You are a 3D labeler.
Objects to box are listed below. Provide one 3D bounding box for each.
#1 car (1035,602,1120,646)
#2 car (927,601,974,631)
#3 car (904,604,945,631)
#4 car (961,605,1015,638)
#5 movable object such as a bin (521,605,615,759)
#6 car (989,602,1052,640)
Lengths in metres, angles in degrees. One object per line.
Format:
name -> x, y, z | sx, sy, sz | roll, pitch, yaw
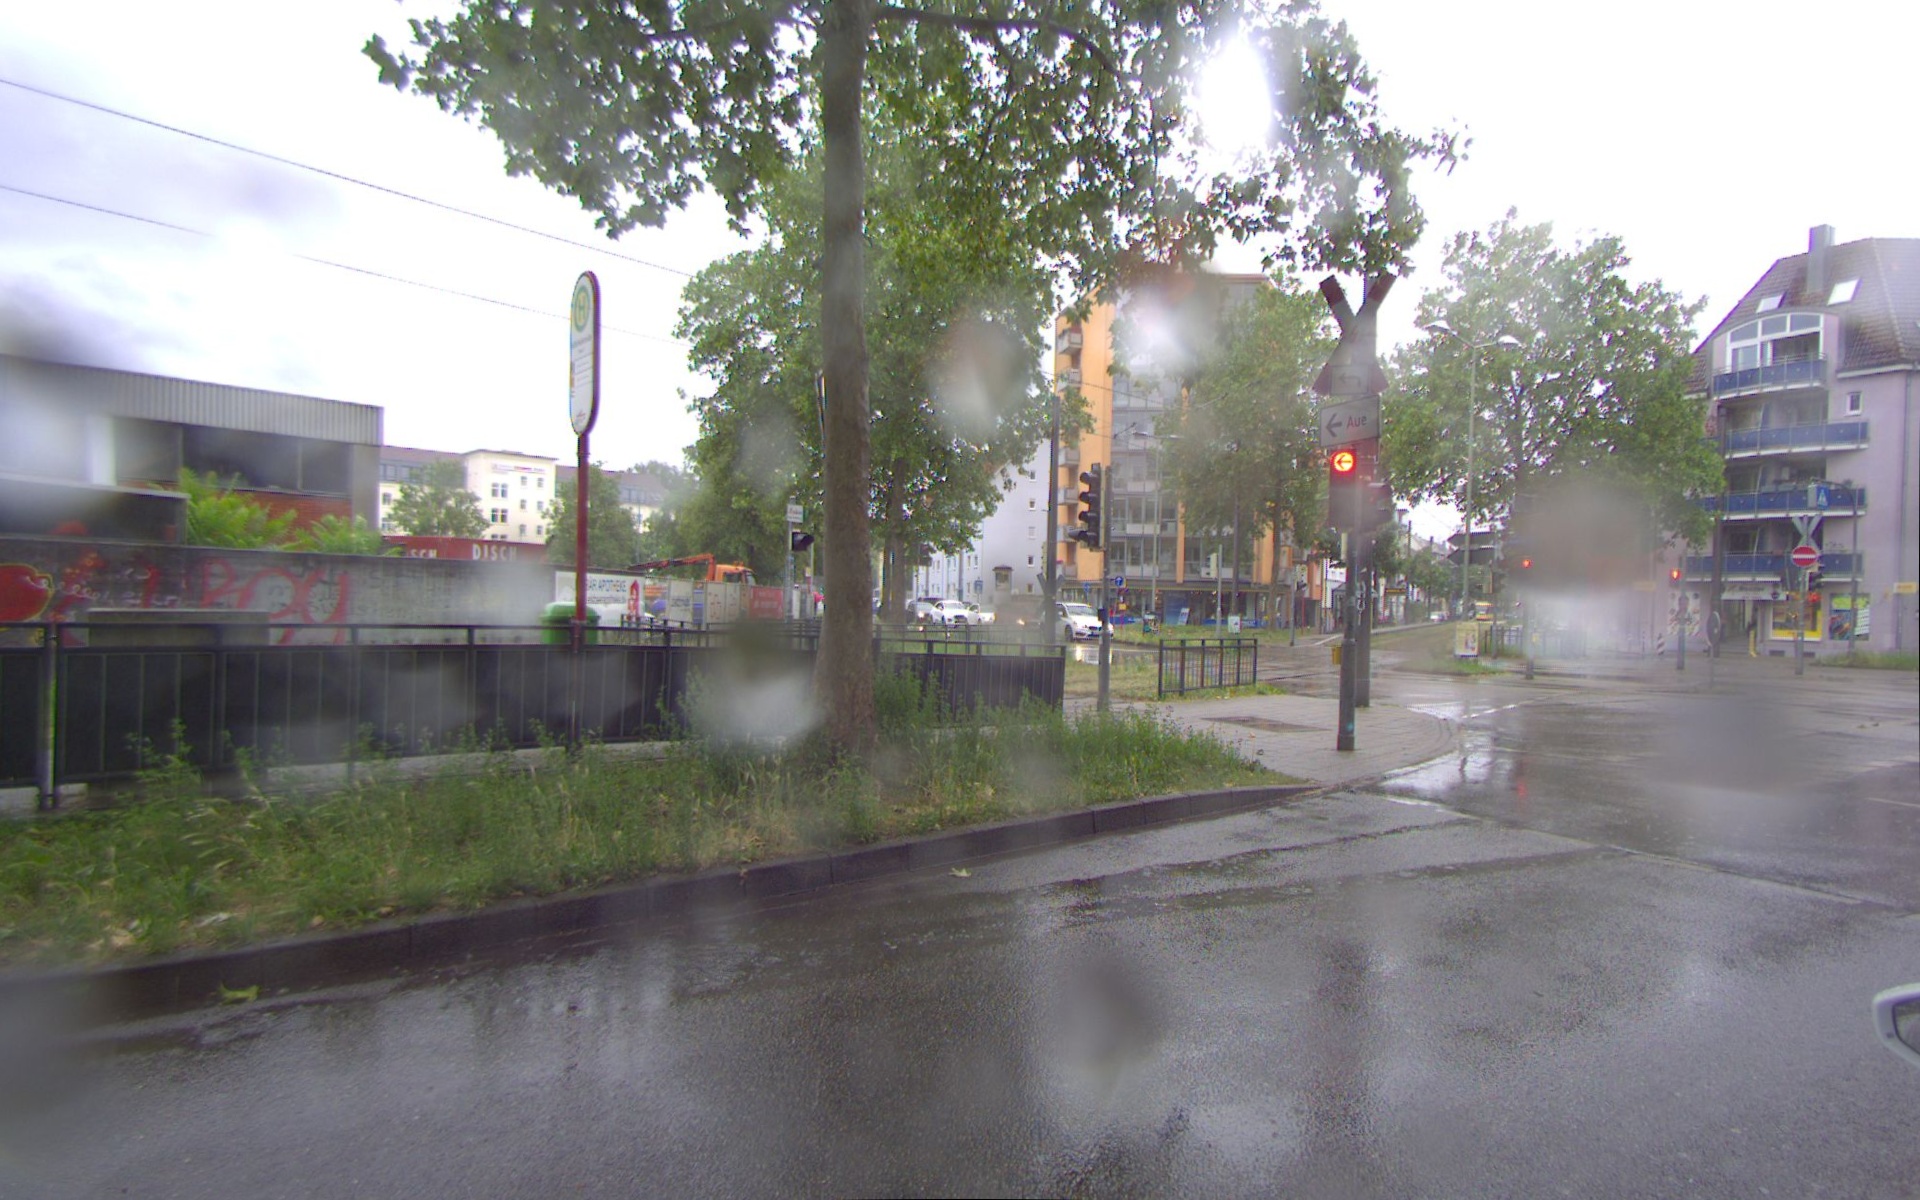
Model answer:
car -> 4.673, 0.969, 40.464 | 1.941, 1.673, 4.004 | 1, -1, -17
car -> -0.576, 0.961, 58.421 | 1.697, 1.661, 3.780 | 1, -1, -17
car -> -2.327, 1.149, 64.442 | 1.697, 1.661, 3.780 | 1, -1, -17
car -> 1.438, 1.128, 52.401 | 1.697, 1.661, 3.780 | 1, -1, -17
movable object such as a bin -> -2.954, 0.597, 7.572 | 0.412, 1.104, 0.528 | 0, -1, 44
car -> 2.741, 0.981, 46.480 | 1.697, 1.661, 3.780 | 1, -1, -17
